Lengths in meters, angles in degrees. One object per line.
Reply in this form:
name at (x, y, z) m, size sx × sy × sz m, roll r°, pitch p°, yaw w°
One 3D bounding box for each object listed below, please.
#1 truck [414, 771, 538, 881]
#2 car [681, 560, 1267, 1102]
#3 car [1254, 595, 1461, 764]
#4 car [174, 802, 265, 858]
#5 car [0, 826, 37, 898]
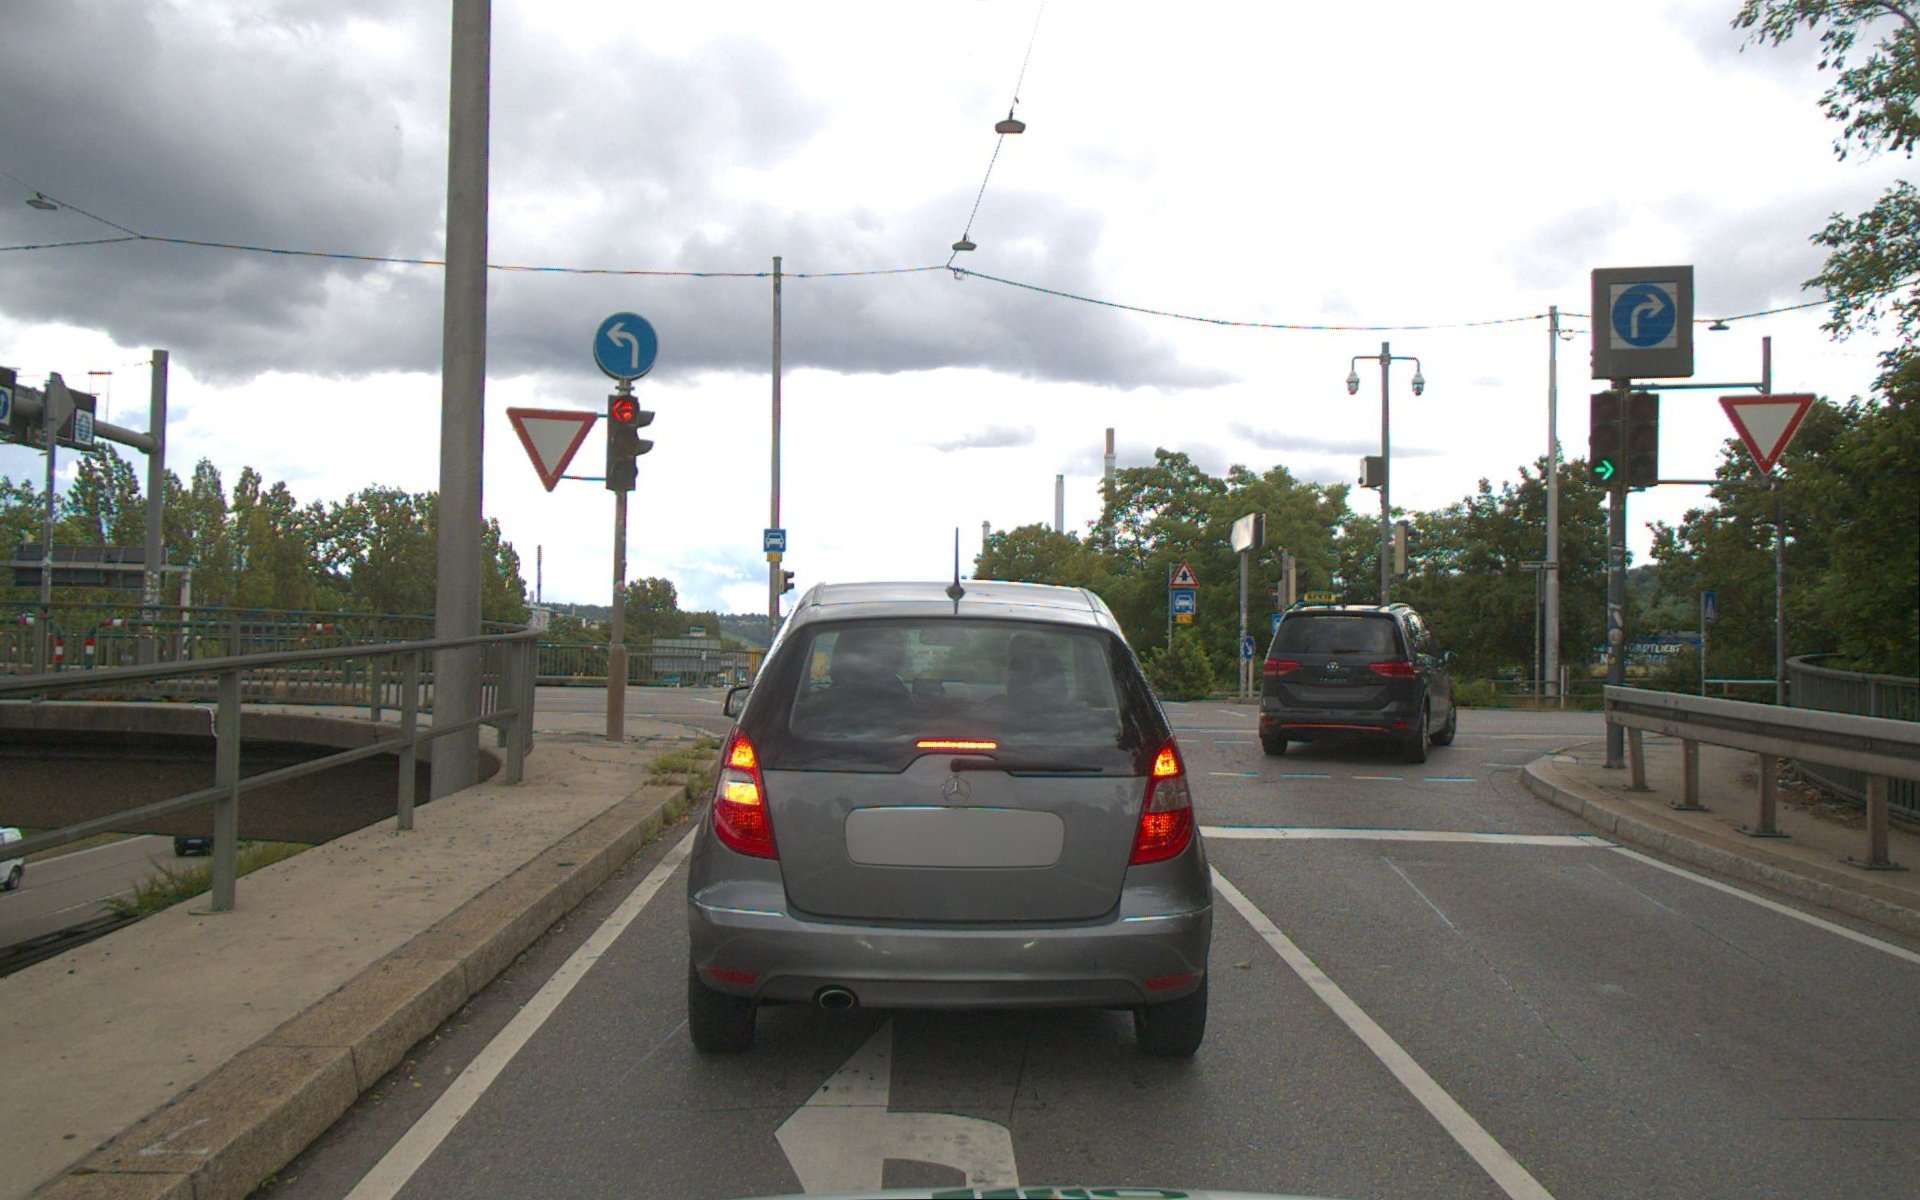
truck at (-16.473, 7.634, 56.759) m, size 2.188 × 3.062 × 7.229 m, roll 0°, pitch -2°, yaw -1°
car at (0.026, 0.688, 6.644) m, size 1.704 × 1.570 × 3.540 m, roll 1°, pitch 0°, yaw -1°
car at (4.653, 0.824, 18.941) m, size 1.759 × 1.682 × 4.150 m, roll 1°, pitch 0°, yaw 21°
car at (-27.376, 8.493, 61.277) m, size 1.631 × 1.649 × 3.998 m, roll -1°, pitch -2°, yaw -1°
car at (-29.753, 7.971, 49.314) m, size 1.908 × 1.941 × 4.906 m, roll -1°, pitch -2°, yaw -3°
